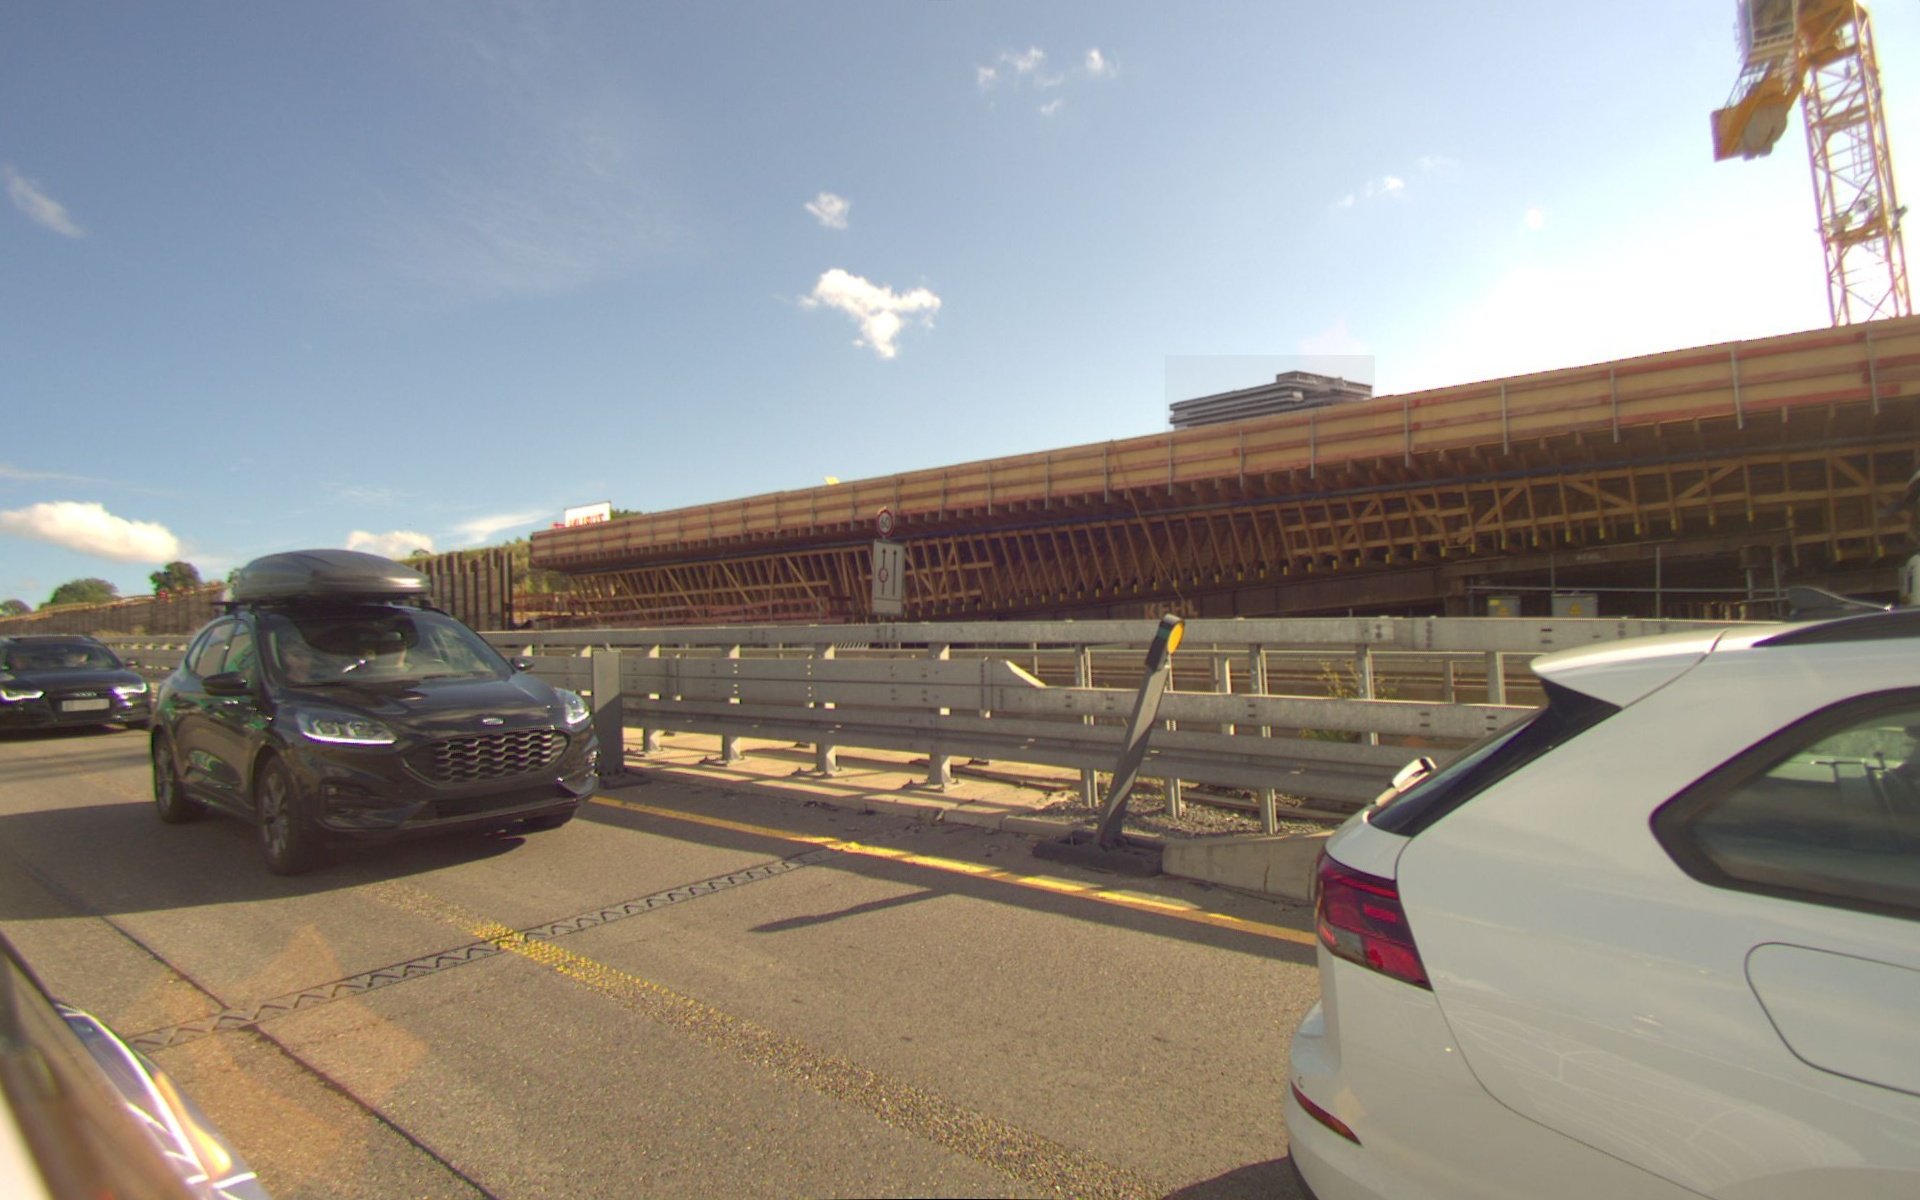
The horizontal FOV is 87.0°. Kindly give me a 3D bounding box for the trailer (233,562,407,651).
[{"bbox_3d":[-30.448,0.382,47.707,13.516,3.694,2.834,-1,0,40],"label":"trailer"}]

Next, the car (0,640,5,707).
[{"bbox_3d":[-23.010,1.672,22.639,4.405,1.441,1.924,-2,0,40],"label":"car"}]

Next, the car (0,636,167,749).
[{"bbox_3d":[-14.047,1.311,15.615,4.501,1.441,1.924,-1,-1,40],"label":"car"}]

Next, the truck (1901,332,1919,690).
[{"bbox_3d":[14.202,-1.081,10.760,5.968,4.169,2.683,-1,0,42],"label":"truck"}]

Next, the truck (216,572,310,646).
[{"bbox_3d":[-36.200,0.490,52.498,4.806,3.656,2.814,-1,0,40],"label":"truck"}]

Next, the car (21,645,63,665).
[{"bbox_3d":[-77.524,4.599,85.438,4.403,1.441,1.925,-1,1,39],"label":"car"}]

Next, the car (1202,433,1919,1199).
[{"bbox_3d":[2.689,0.556,0.936,4.513,1.502,1.752,-1,-2,41],"label":"car"}]

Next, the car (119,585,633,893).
[{"bbox_3d":[-4.356,0.807,7.225,4.380,1.554,1.781,-3,-3,40],"label":"car"}]

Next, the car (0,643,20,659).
[{"bbox_3d":[-95.726,5.107,101.231,4.403,1.441,1.925,-1,1,39],"label":"car"}]
